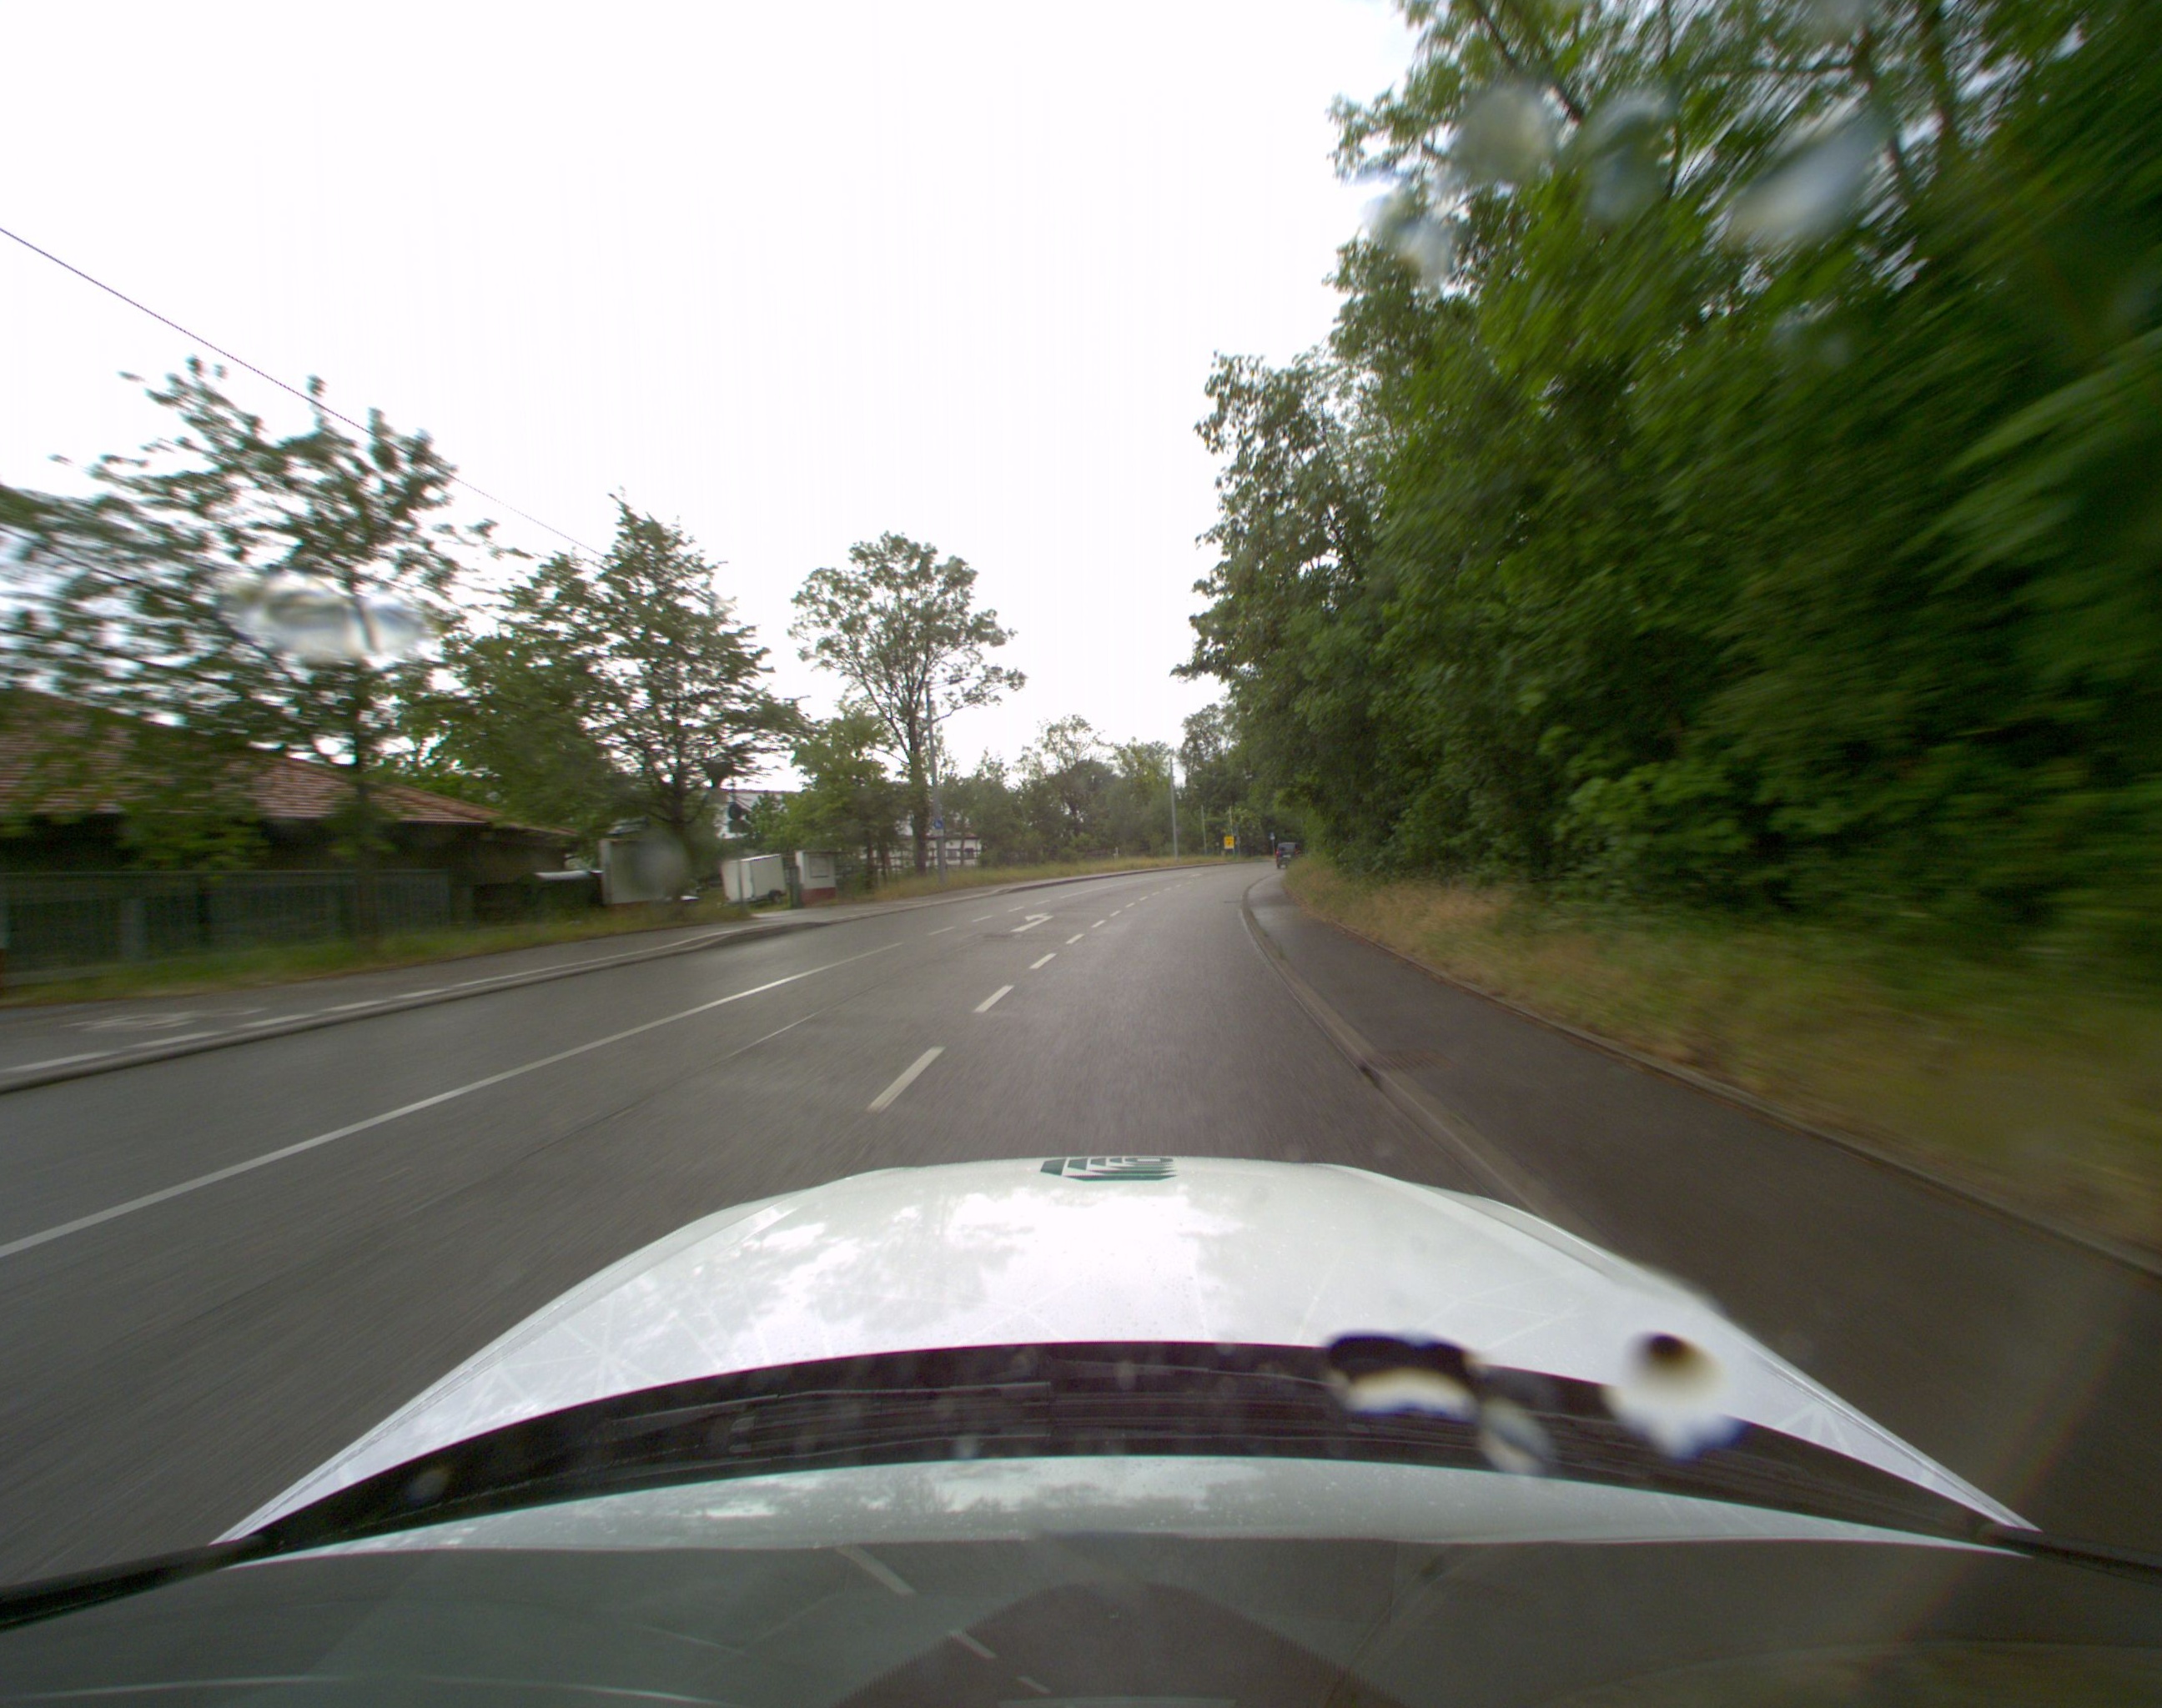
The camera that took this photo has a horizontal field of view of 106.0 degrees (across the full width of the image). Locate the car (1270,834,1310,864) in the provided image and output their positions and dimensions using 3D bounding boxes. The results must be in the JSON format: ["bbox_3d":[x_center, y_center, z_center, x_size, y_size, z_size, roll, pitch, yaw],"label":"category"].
[{"bbox_3d":[15.213,-0.386,59.179,1.810,1.793,4.025,-8,-1,27],"label":"car"}]
